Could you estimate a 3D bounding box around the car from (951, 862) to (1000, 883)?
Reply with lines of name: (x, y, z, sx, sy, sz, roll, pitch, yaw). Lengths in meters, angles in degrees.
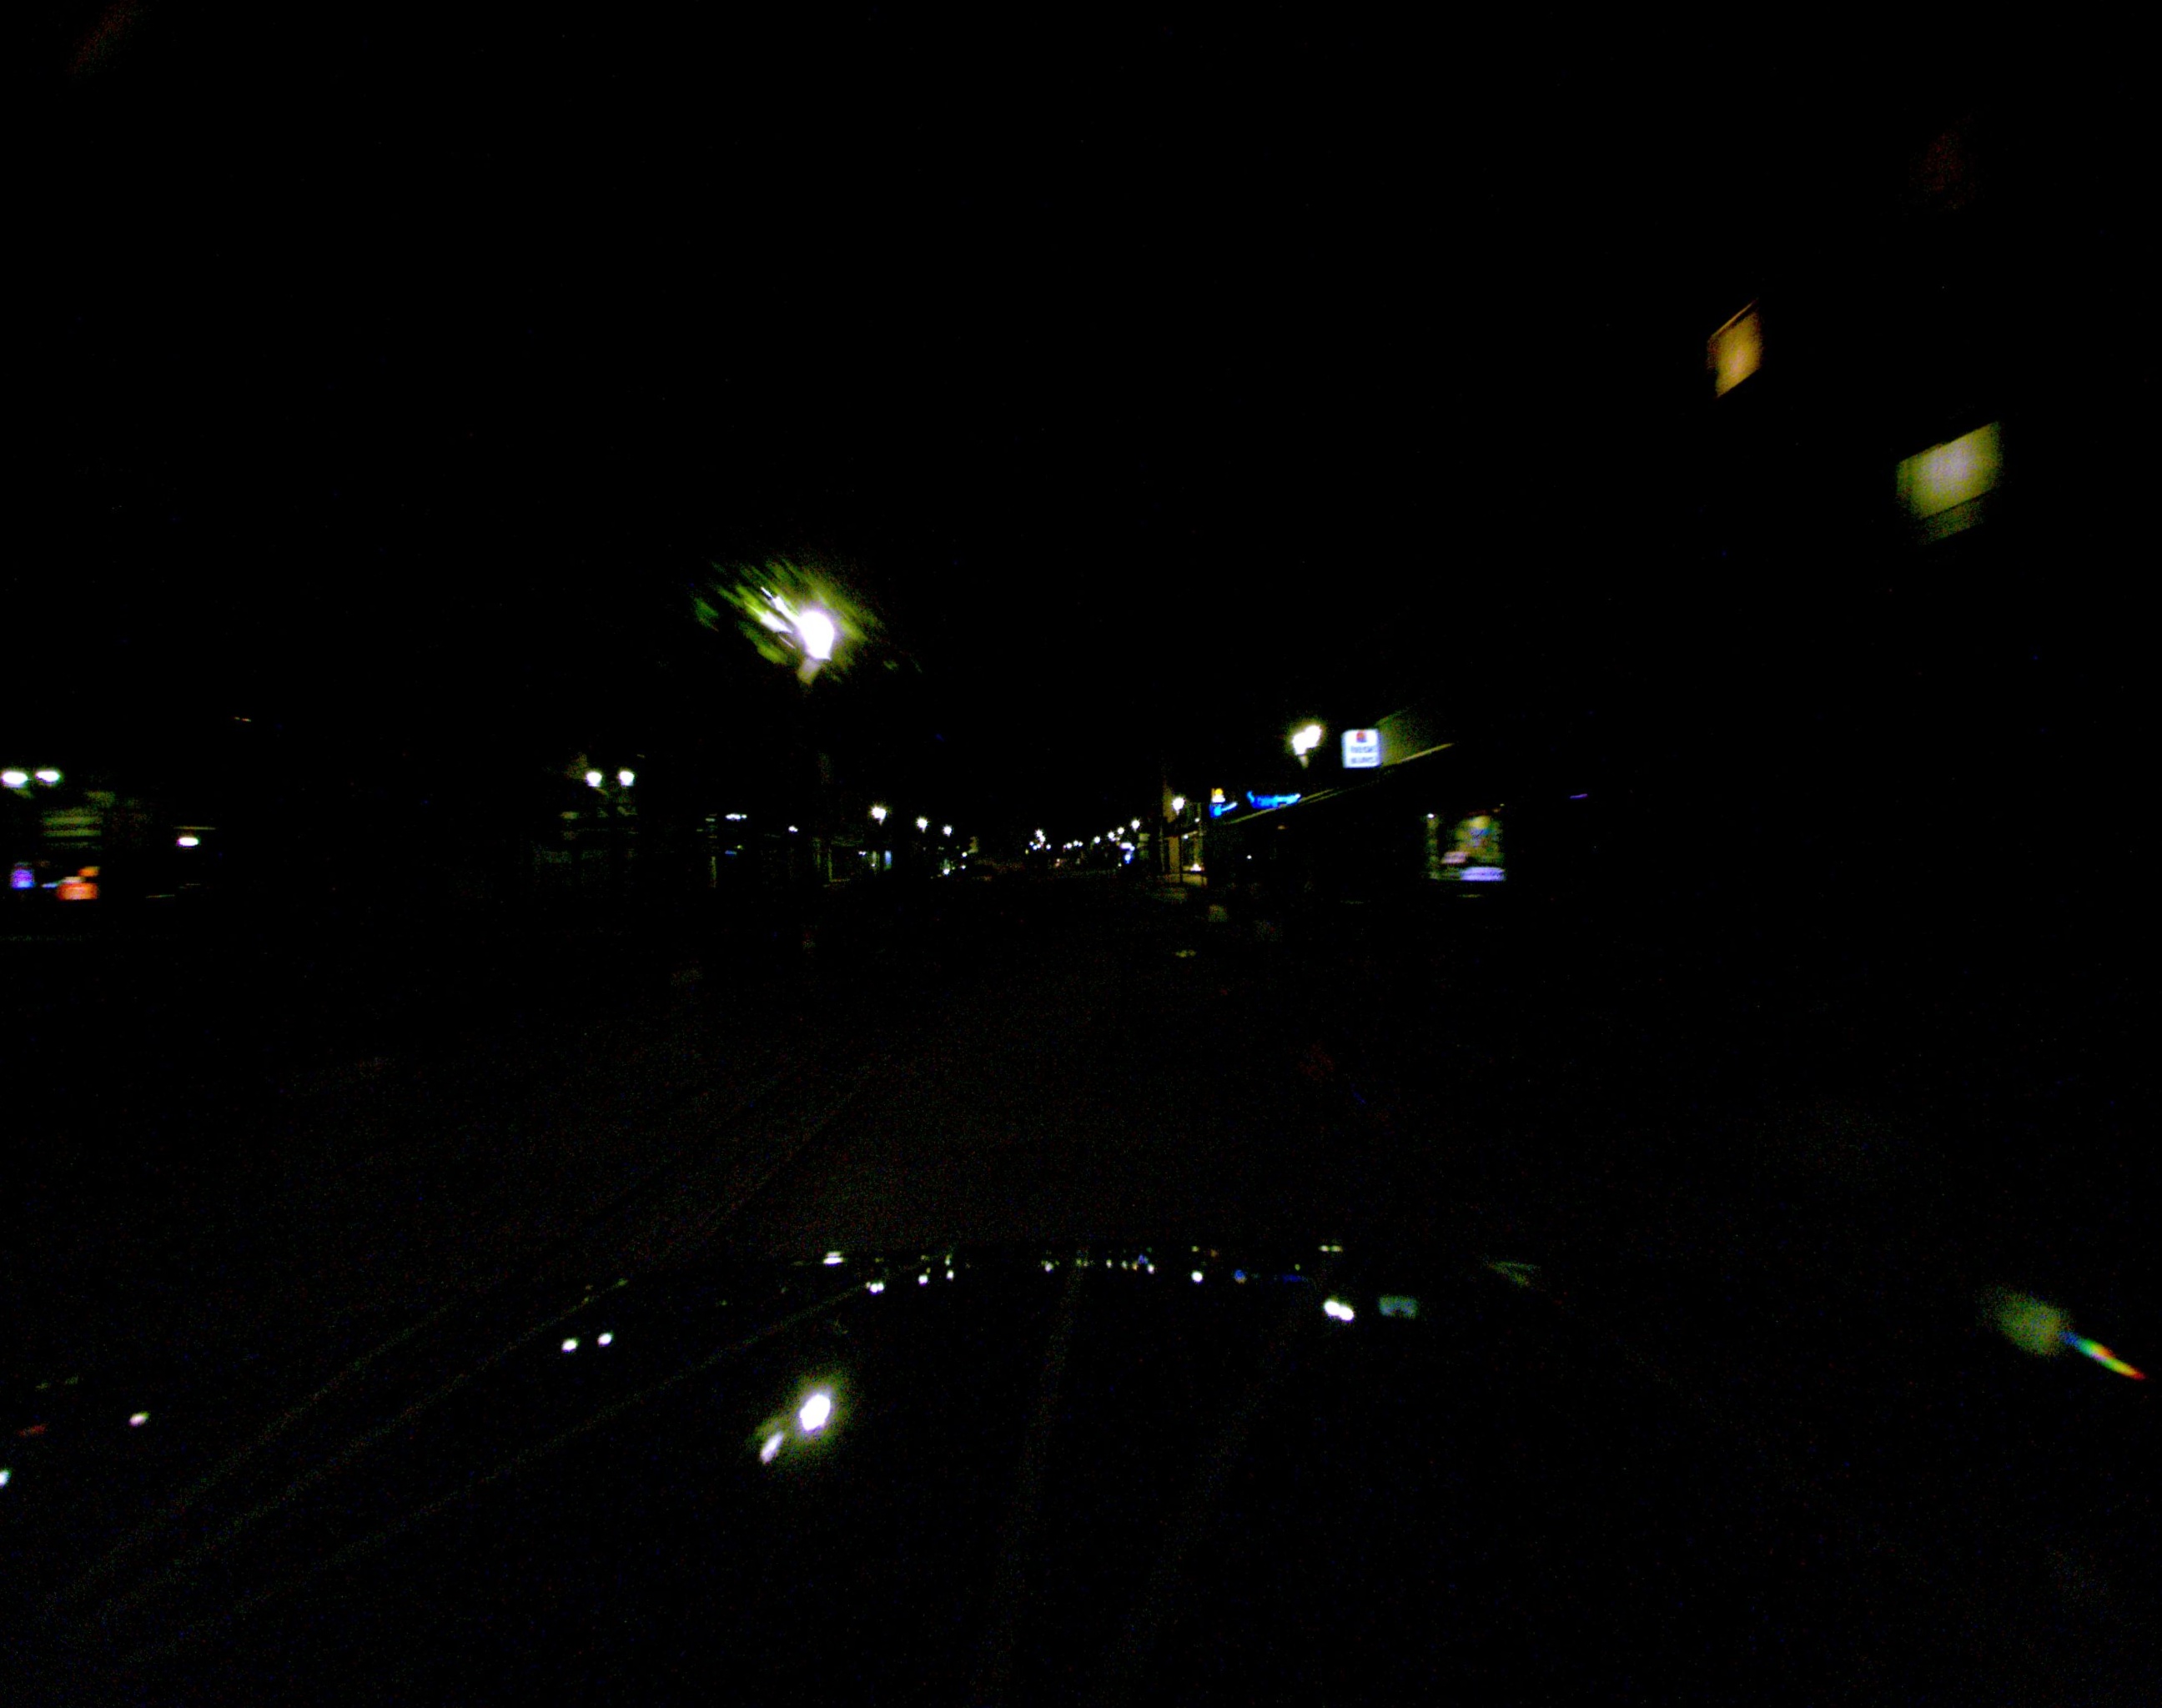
car: (-7.894, 1.410, 56.978, 3.183, 1.447, 1.691, -2, 0, -28)

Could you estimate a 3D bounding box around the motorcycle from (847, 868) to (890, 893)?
motorcycle: (-11.596, 1.408, 41.442, 2.226, 1.263, 0.531, -2, 0, -43)

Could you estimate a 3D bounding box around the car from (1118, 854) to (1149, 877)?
car: (3.592, 0.779, 52.570, 1.655, 1.417, 4.014, -4, 0, -1)

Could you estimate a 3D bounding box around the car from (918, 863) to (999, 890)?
car: (-7.430, 1.361, 46.189, 4.555, 1.447, 1.633, -2, 0, -35)

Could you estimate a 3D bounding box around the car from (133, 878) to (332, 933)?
car: (-26.207, 1.563, 23.581, 3.997, 1.580, 1.901, -1, -1, -1)

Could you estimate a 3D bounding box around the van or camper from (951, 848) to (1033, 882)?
van or camper: (-7.048, 0.841, 60.305, 6.061, 2.518, 2.158, -2, 0, -31)
